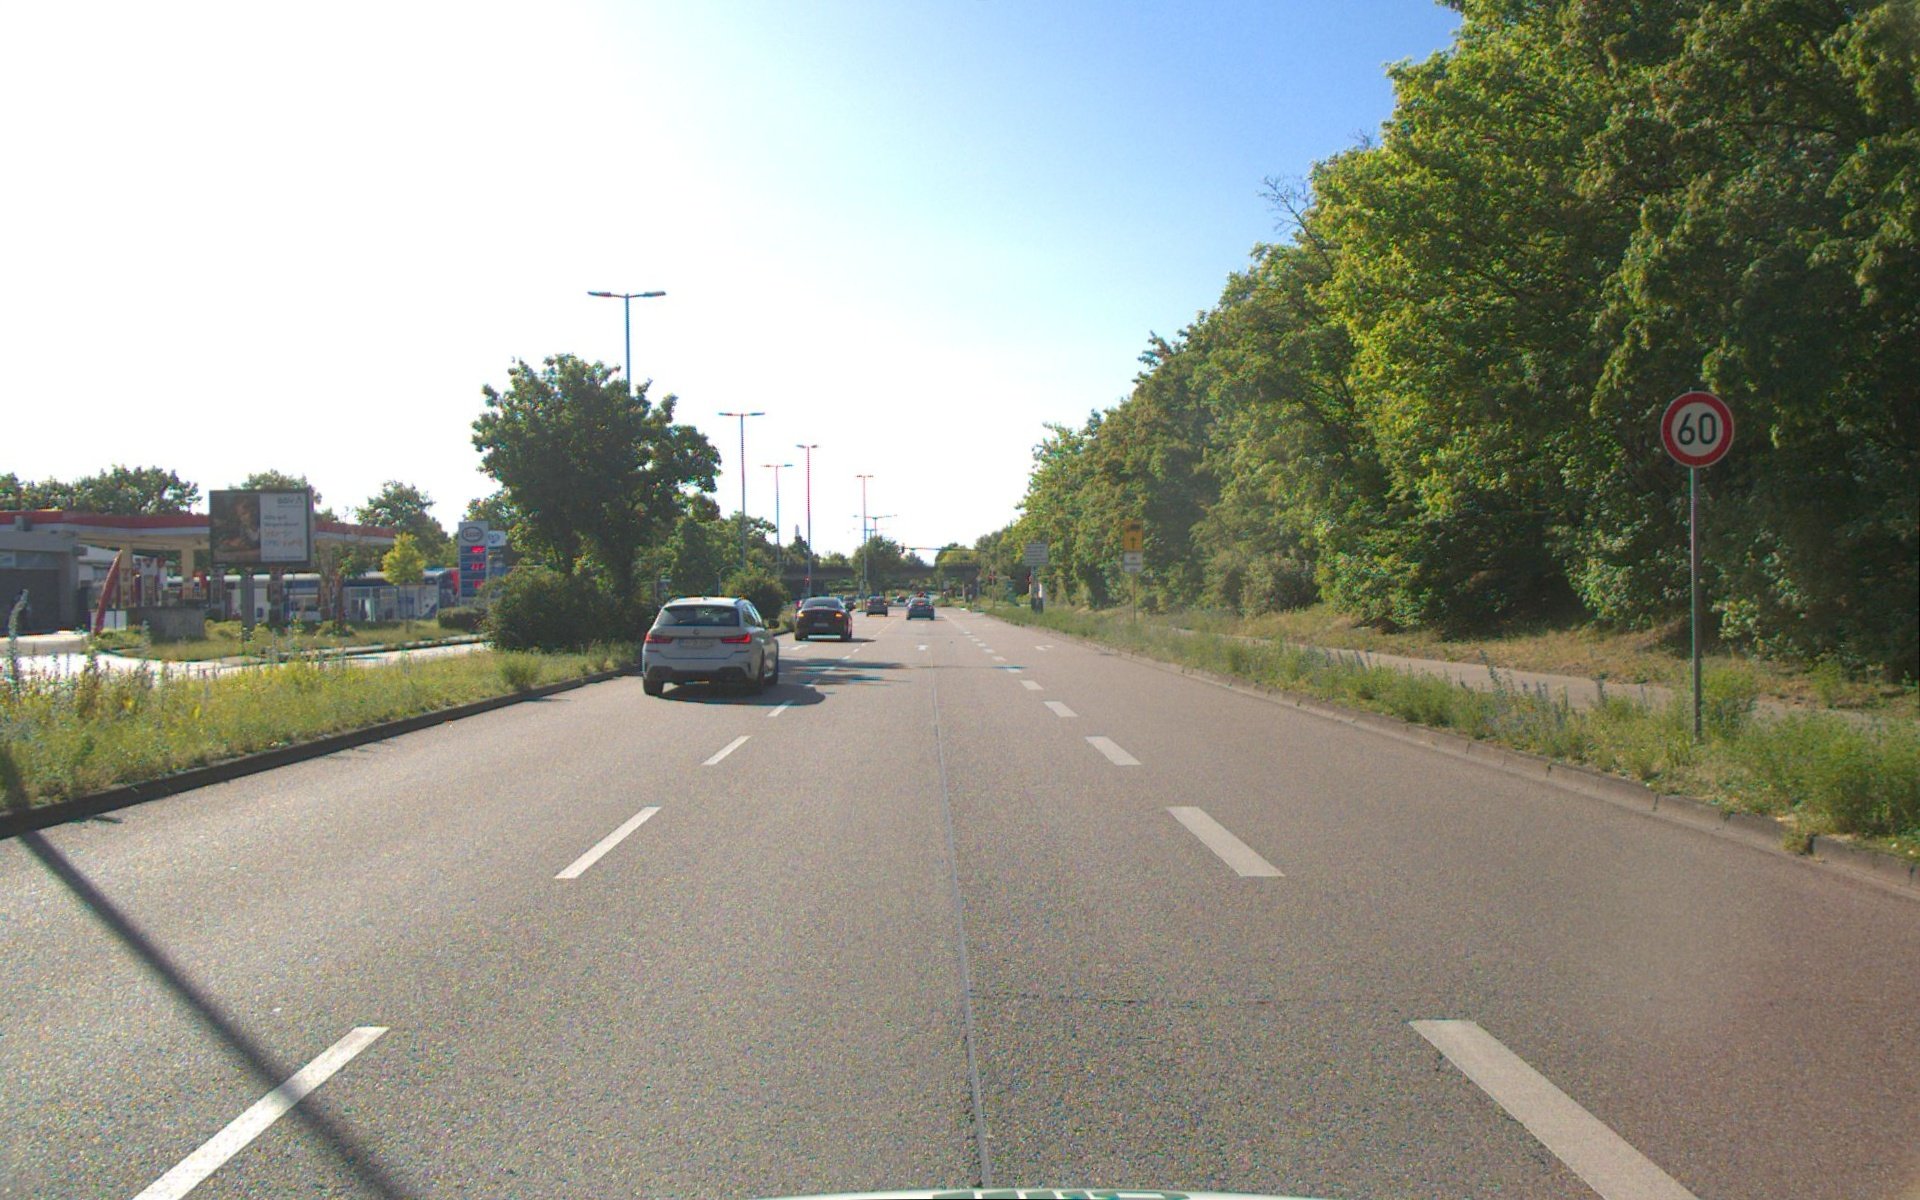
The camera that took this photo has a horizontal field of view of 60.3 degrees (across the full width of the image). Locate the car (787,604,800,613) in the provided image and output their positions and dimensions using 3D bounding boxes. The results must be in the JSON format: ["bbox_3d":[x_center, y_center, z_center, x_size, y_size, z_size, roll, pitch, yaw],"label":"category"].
[{"bbox_3d":[-25.137,1.283,249.738,1.669,1.427,3.722,-1,0,-2],"label":"car"}]

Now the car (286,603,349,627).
[{"bbox_3d":[-52.372,1.244,134.843,4.298,1.875,1.998,-1,0,-4],"label":"car"}]

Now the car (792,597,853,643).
[{"bbox_3d":[-4.741,0.659,57.425,1.824,1.480,4.546,-1,0,-2],"label":"car"}]

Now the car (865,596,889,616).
[{"bbox_3d":[-6.770,0.470,135.025,1.824,1.592,4.546,-1,0,-2],"label":"car"}]

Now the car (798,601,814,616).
[{"bbox_3d":[-16.165,0.865,173.531,1.463,1.535,3.485,-1,0,-2],"label":"car"}]

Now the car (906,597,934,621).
[{"bbox_3d":[-2.693,0.583,111.463,1.824,1.525,4.335,-1,0,-2],"label":"car"}]

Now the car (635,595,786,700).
[{"bbox_3d":[-3.871,0.684,26.323,1.824,1.480,4.546,1,0,-2],"label":"car"}]
